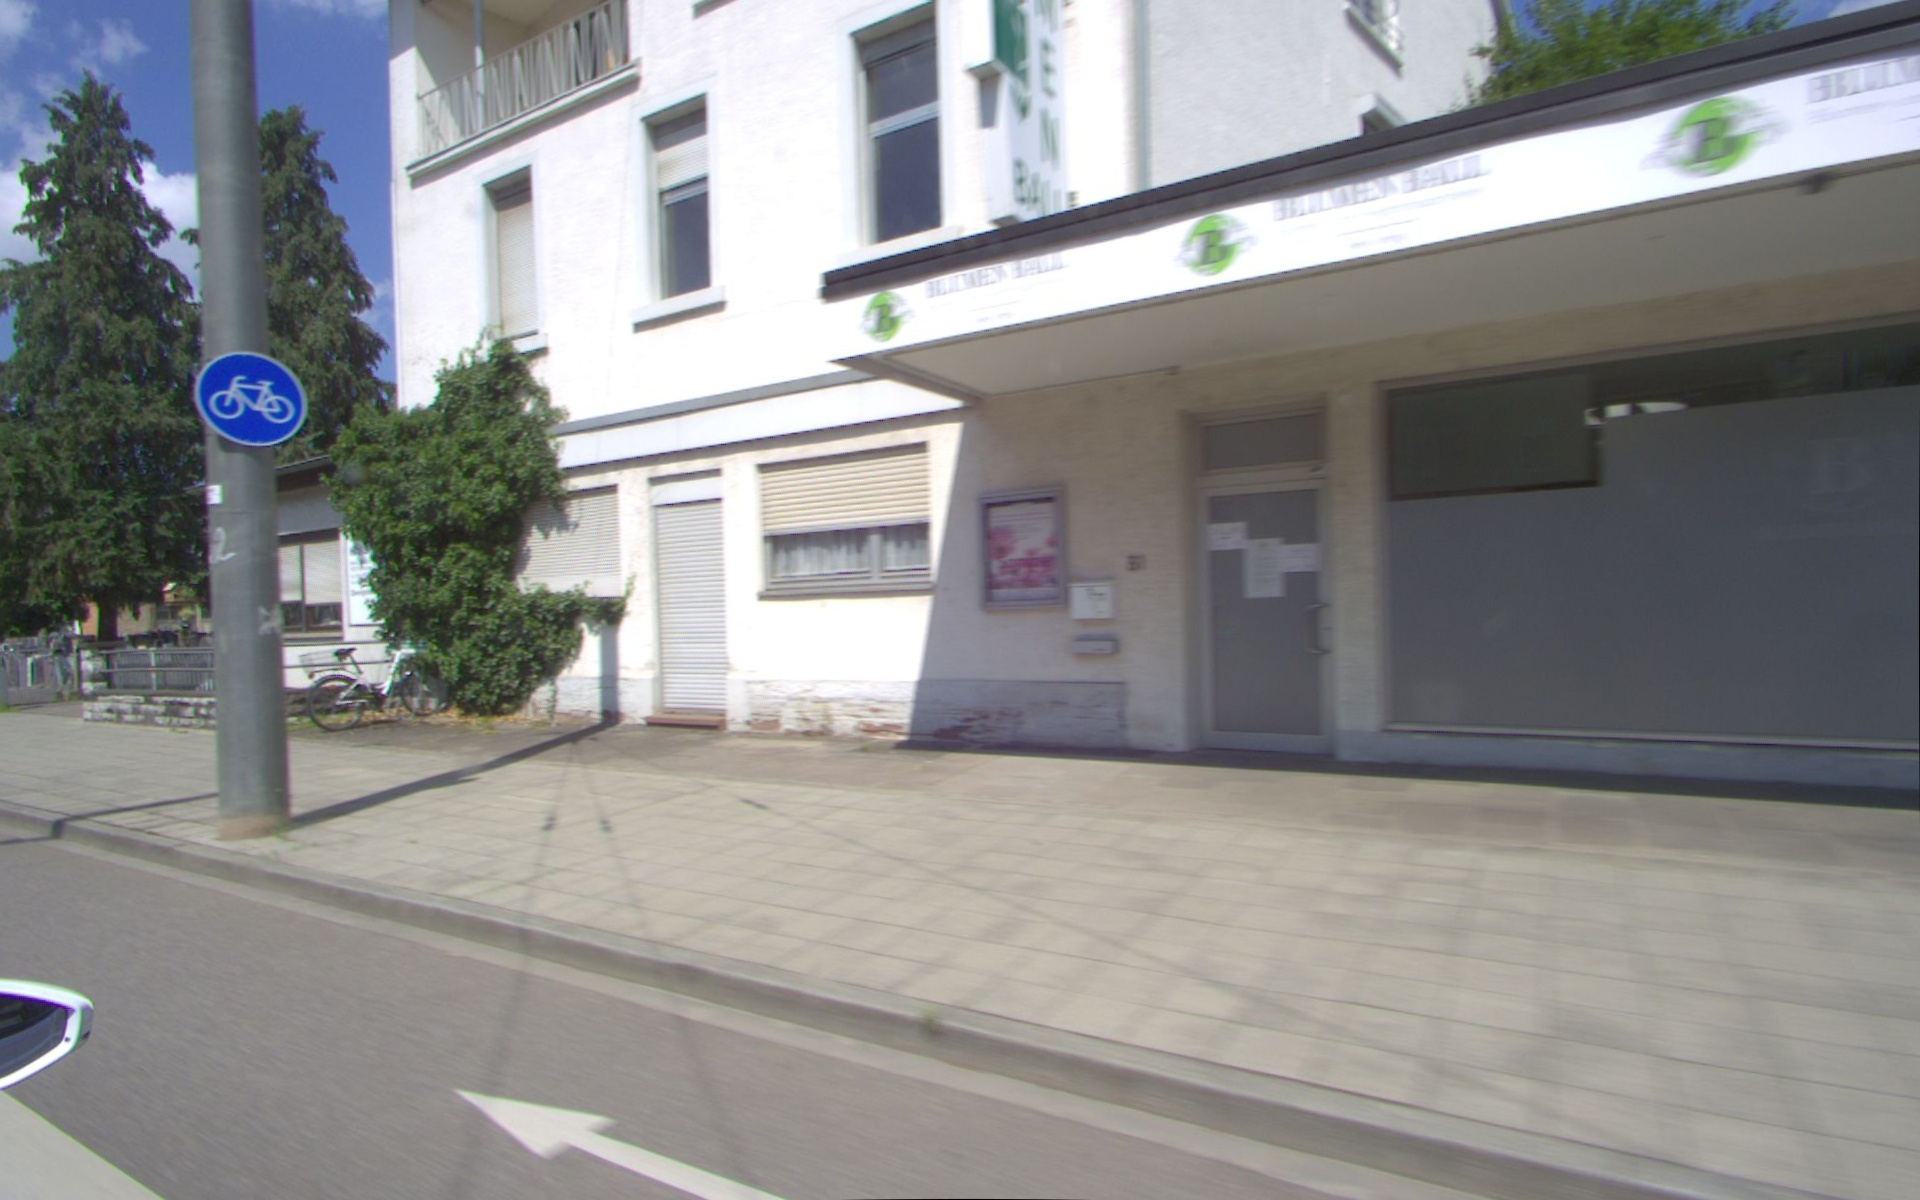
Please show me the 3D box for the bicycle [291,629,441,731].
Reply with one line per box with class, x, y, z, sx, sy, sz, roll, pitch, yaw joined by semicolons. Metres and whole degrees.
bicycle;-7.432;0.973;12.587;0.424;1.101;1.526;-1;2;37
